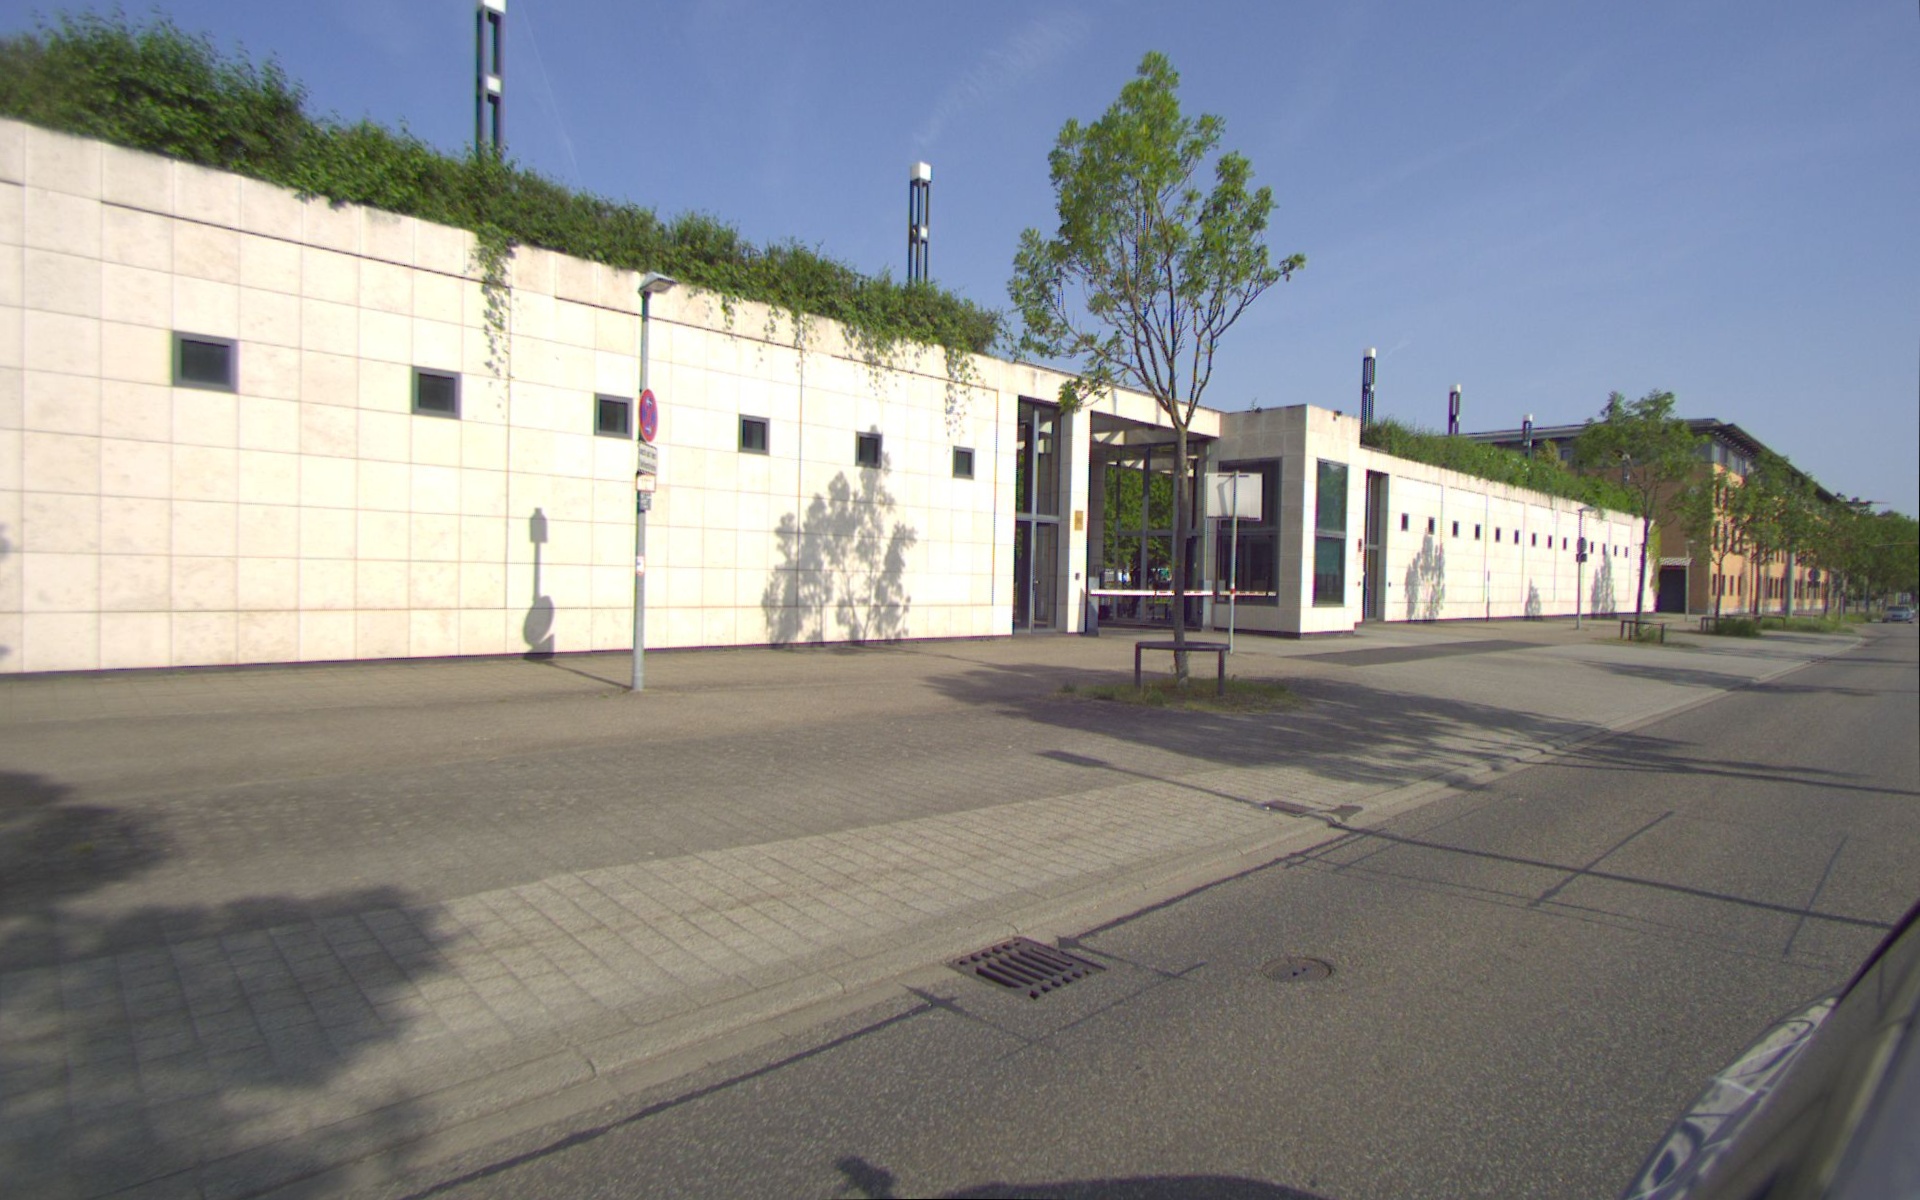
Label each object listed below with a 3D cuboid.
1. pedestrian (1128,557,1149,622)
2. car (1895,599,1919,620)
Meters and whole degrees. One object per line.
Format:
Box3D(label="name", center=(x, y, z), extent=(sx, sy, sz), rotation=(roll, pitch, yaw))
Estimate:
Box3D(label="pedestrian", center=(5.306, -0.318, 30.056), extent=(0.549, 1.895, 0.592), rotation=(-1, 2, 13))
Box3D(label="car", center=(72.876, 0.727, 77.587), extent=(1.625, 1.504, 3.313), rotation=(-1, 0, 44))
